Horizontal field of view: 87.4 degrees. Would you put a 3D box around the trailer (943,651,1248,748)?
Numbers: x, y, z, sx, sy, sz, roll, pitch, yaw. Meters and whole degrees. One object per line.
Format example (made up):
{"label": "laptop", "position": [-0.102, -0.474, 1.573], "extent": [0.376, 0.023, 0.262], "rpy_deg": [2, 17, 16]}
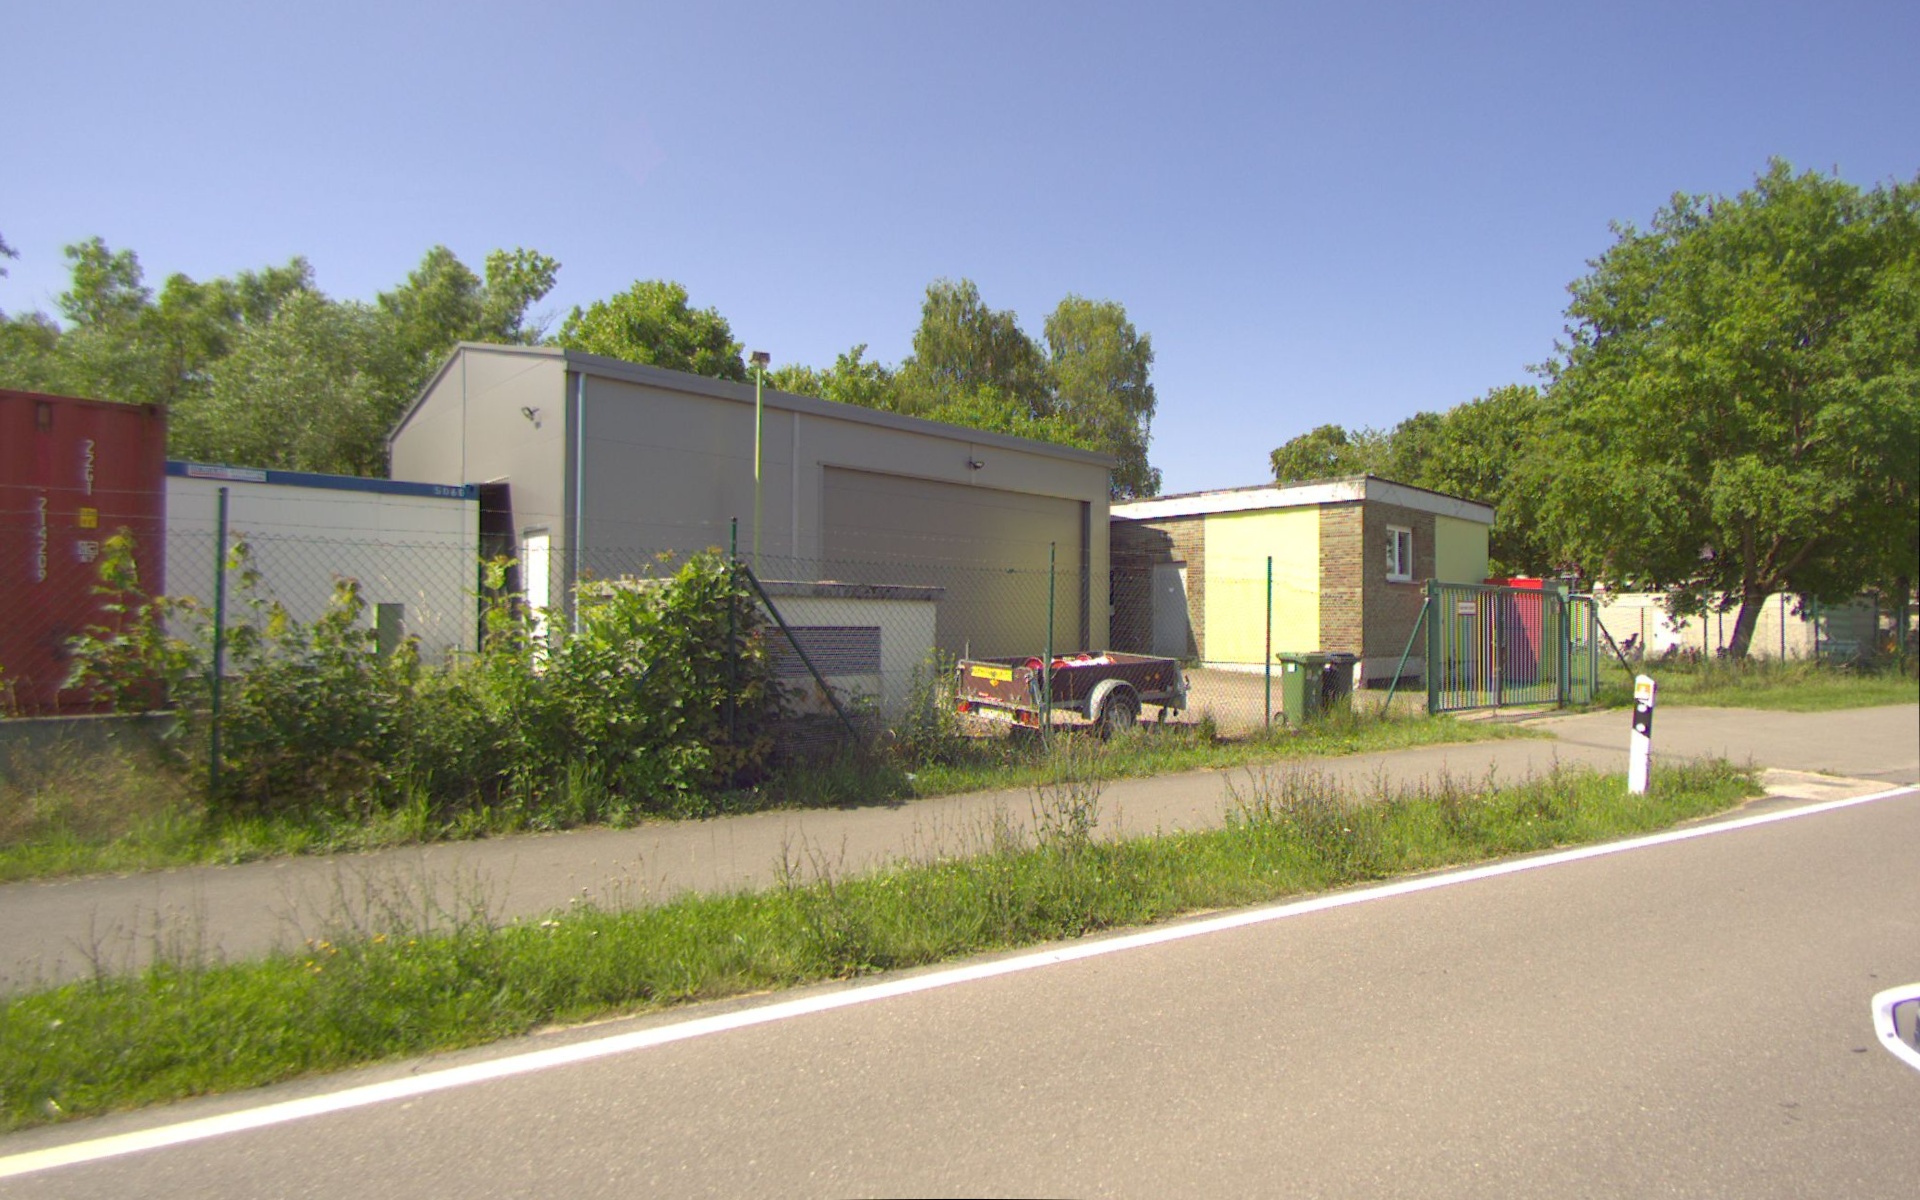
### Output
{"label": "trailer", "position": [1.615, 1.067, 11.583], "extent": [3.326, 0.878, 1.619], "rpy_deg": [1, -2, -37]}

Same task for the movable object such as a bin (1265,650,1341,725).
{"label": "movable object such as a bin", "position": [4.279, 1.078, 12.547], "extent": [0.645, 0.887, 0.637], "rpy_deg": [1, -1, -25]}

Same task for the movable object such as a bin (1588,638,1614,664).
{"label": "movable object such as a bin", "position": [26.736, 2.122, 41.902], "extent": [0.657, 1.027, 0.690], "rpy_deg": [1, -2, -34]}

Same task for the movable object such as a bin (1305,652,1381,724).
{"label": "movable object such as a bin", "position": [4.889, 1.108, 12.829], "extent": [0.645, 0.866, 0.637], "rpy_deg": [1, -1, -25]}

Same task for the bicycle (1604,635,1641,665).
{"label": "bicycle", "position": [28.020, 2.097, 42.480], "extent": [0.419, 1.229, 1.233], "rpy_deg": [1, -2, -32]}

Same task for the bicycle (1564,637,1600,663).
{"label": "bicycle", "position": [27.083, 2.160, 43.751], "extent": [0.500, 1.096, 1.234], "rpy_deg": [1, -2, -31]}

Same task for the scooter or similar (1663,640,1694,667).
{"label": "scooter or similar", "position": [28.127, 2.087, 39.322], "extent": [0.529, 1.010, 0.888], "rpy_deg": [1, -2, -35]}
